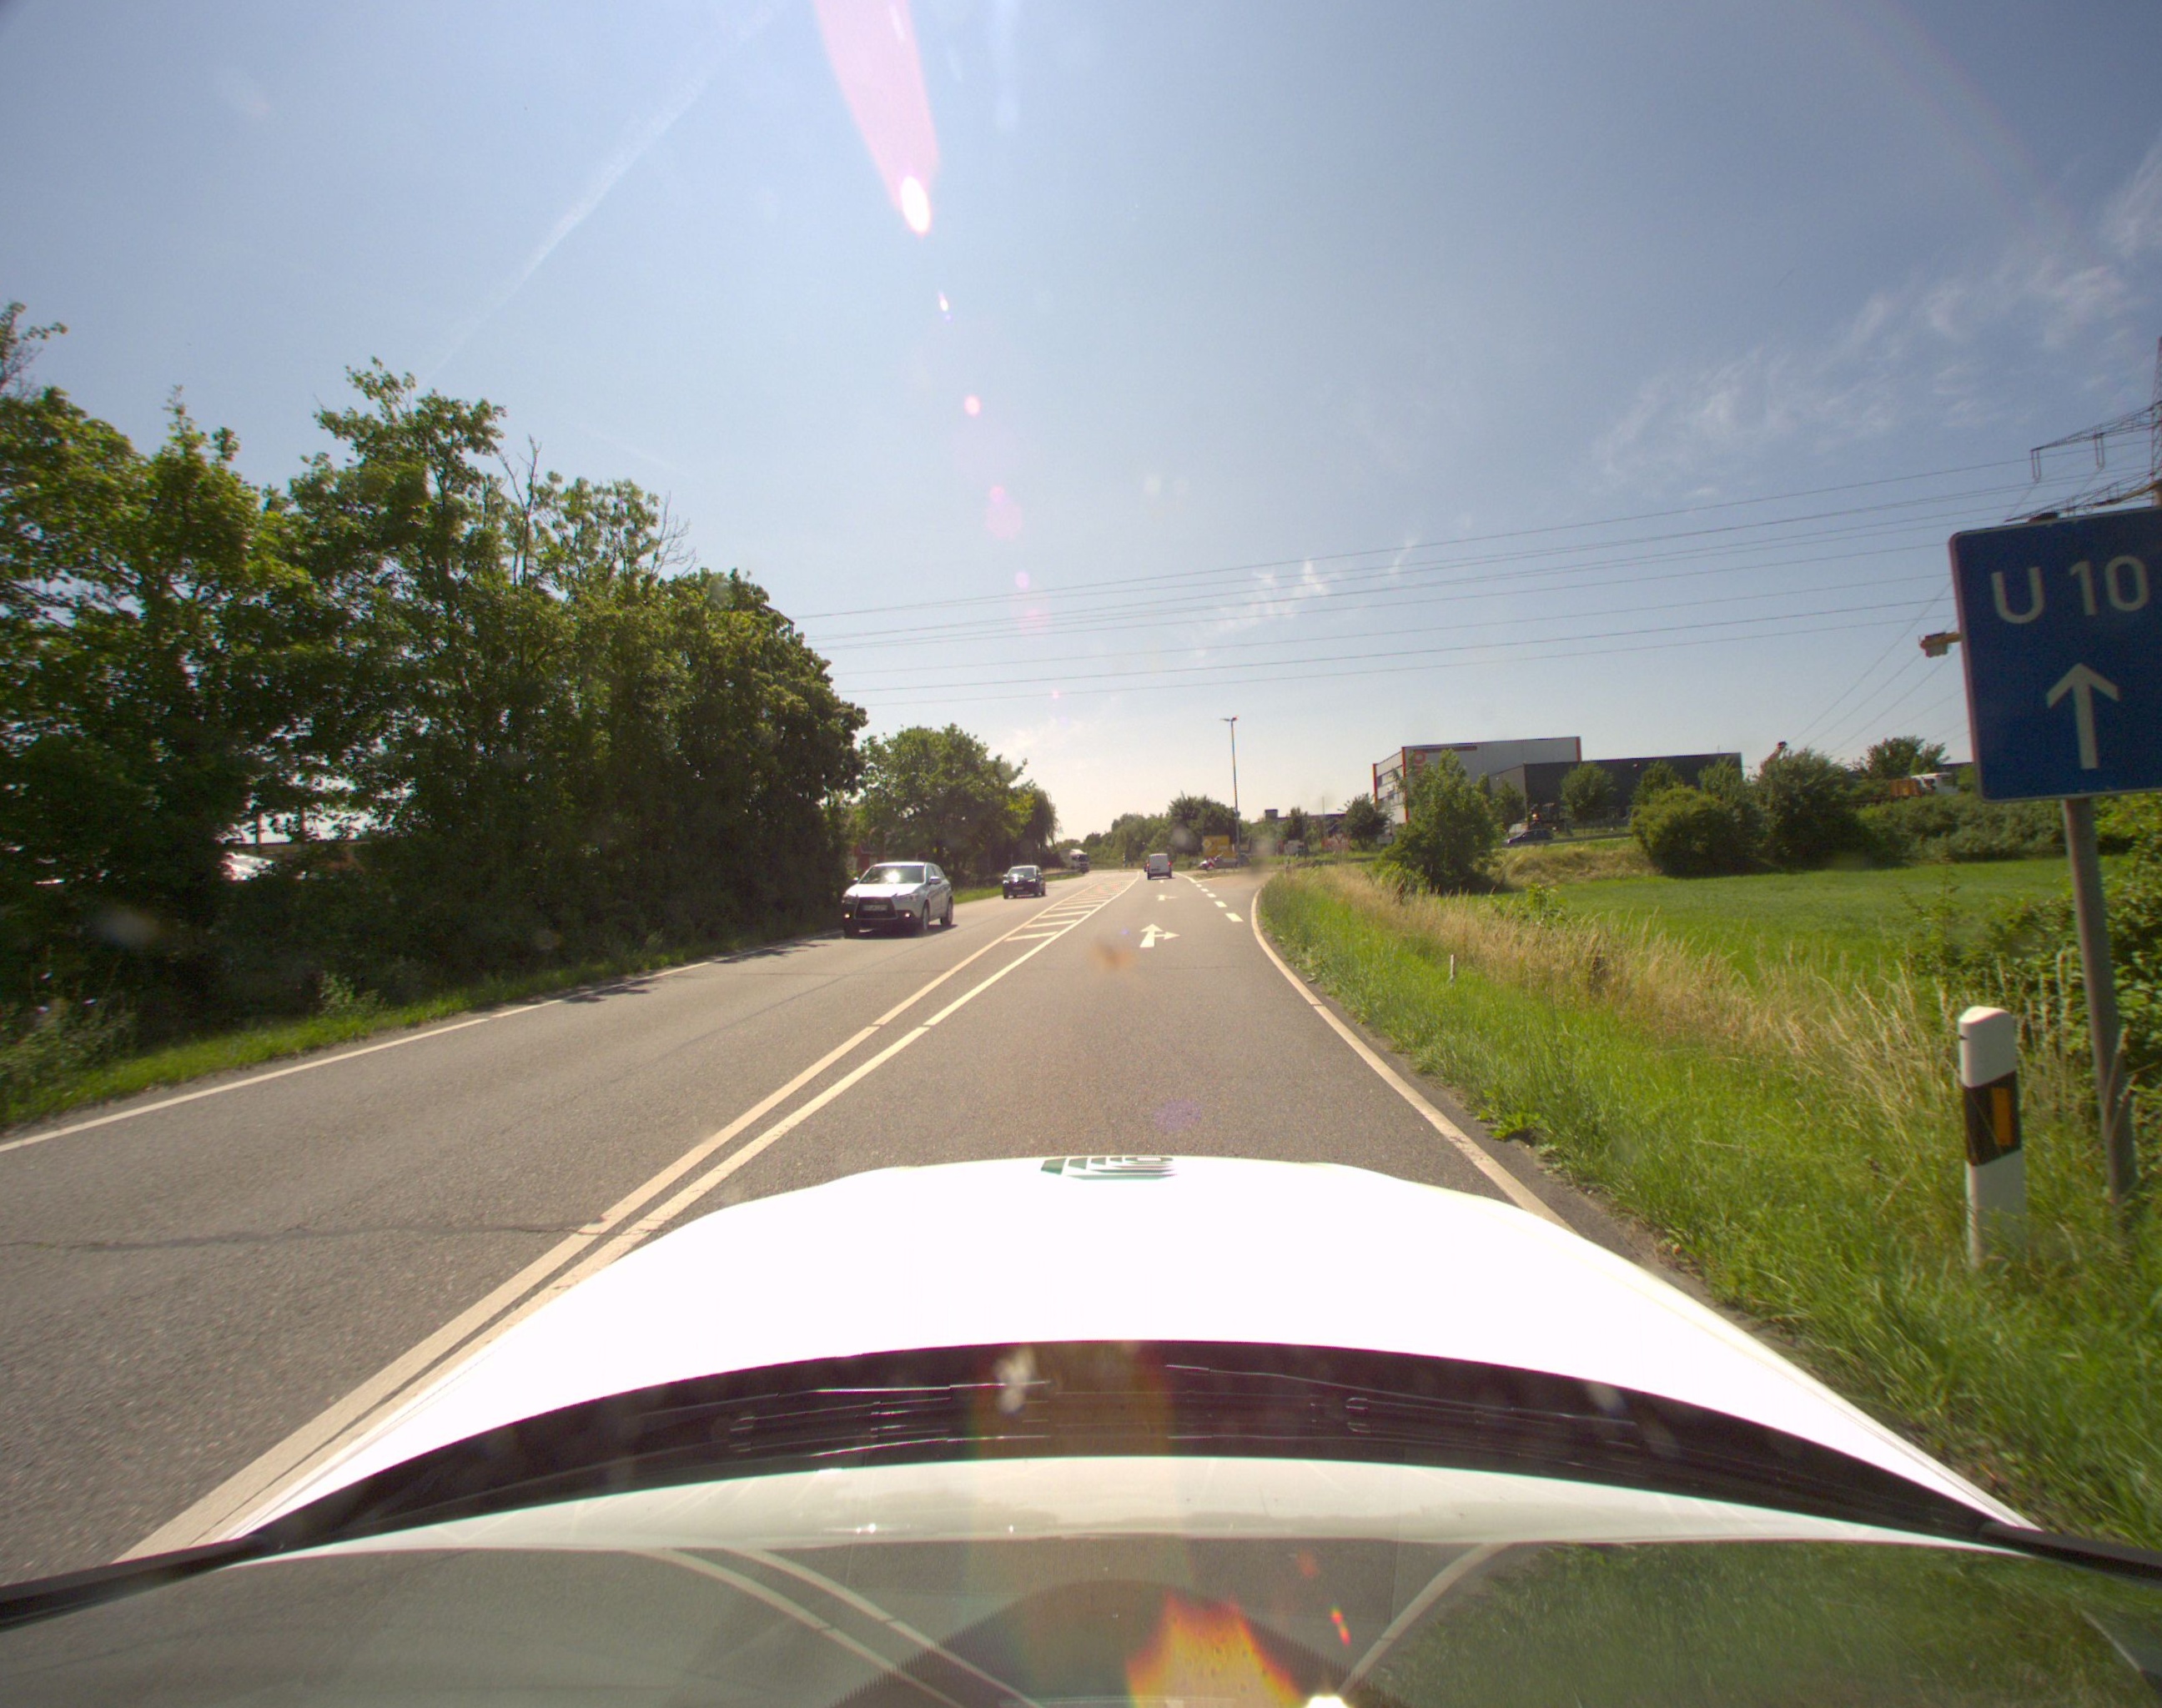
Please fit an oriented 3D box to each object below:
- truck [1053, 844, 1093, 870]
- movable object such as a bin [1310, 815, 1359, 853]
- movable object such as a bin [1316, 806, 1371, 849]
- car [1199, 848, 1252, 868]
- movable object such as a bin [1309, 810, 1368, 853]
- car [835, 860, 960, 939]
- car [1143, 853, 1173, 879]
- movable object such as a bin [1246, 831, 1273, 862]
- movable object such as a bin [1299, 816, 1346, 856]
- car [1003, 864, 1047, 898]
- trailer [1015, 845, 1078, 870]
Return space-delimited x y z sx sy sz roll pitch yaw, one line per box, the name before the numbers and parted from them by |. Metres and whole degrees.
truck | -1.368 0.525 131.646 2.814 4.056 6.672 -1 0 -41
movable object such as a bin | 30.271 -2.364 97.428 5.057 4.275 2.840 -2 -3 7
movable object such as a bin | 32.833 -3.271 102.064 5.886 5.106 3.115 -2 -3 7
car | 13.147 0.406 74.273 4.490 1.508 1.917 -4 -1 5
movable object such as a bin | 33.394 -2.884 105.927 6.555 5.148 3.813 -2 -3 7
car | -4.075 0.942 18.867 1.735 1.589 4.531 -1 -1 1
car | 5.531 0.841 58.795 1.896 1.732 3.825 -3 -1 3
movable object such as a bin | 20.605 -0.827 94.012 2.312 3.250 5.107 -1 -2 4
movable object such as a bin | 34.023 -2.446 114.862 5.685 5.270 3.227 -2 -3 7
car | -2.769 1.323 40.754 1.725 1.590 3.959 -2 -1 2
trailer | -5.927 0.624 136.963 2.814 4.056 13.341 -1 0 -41
